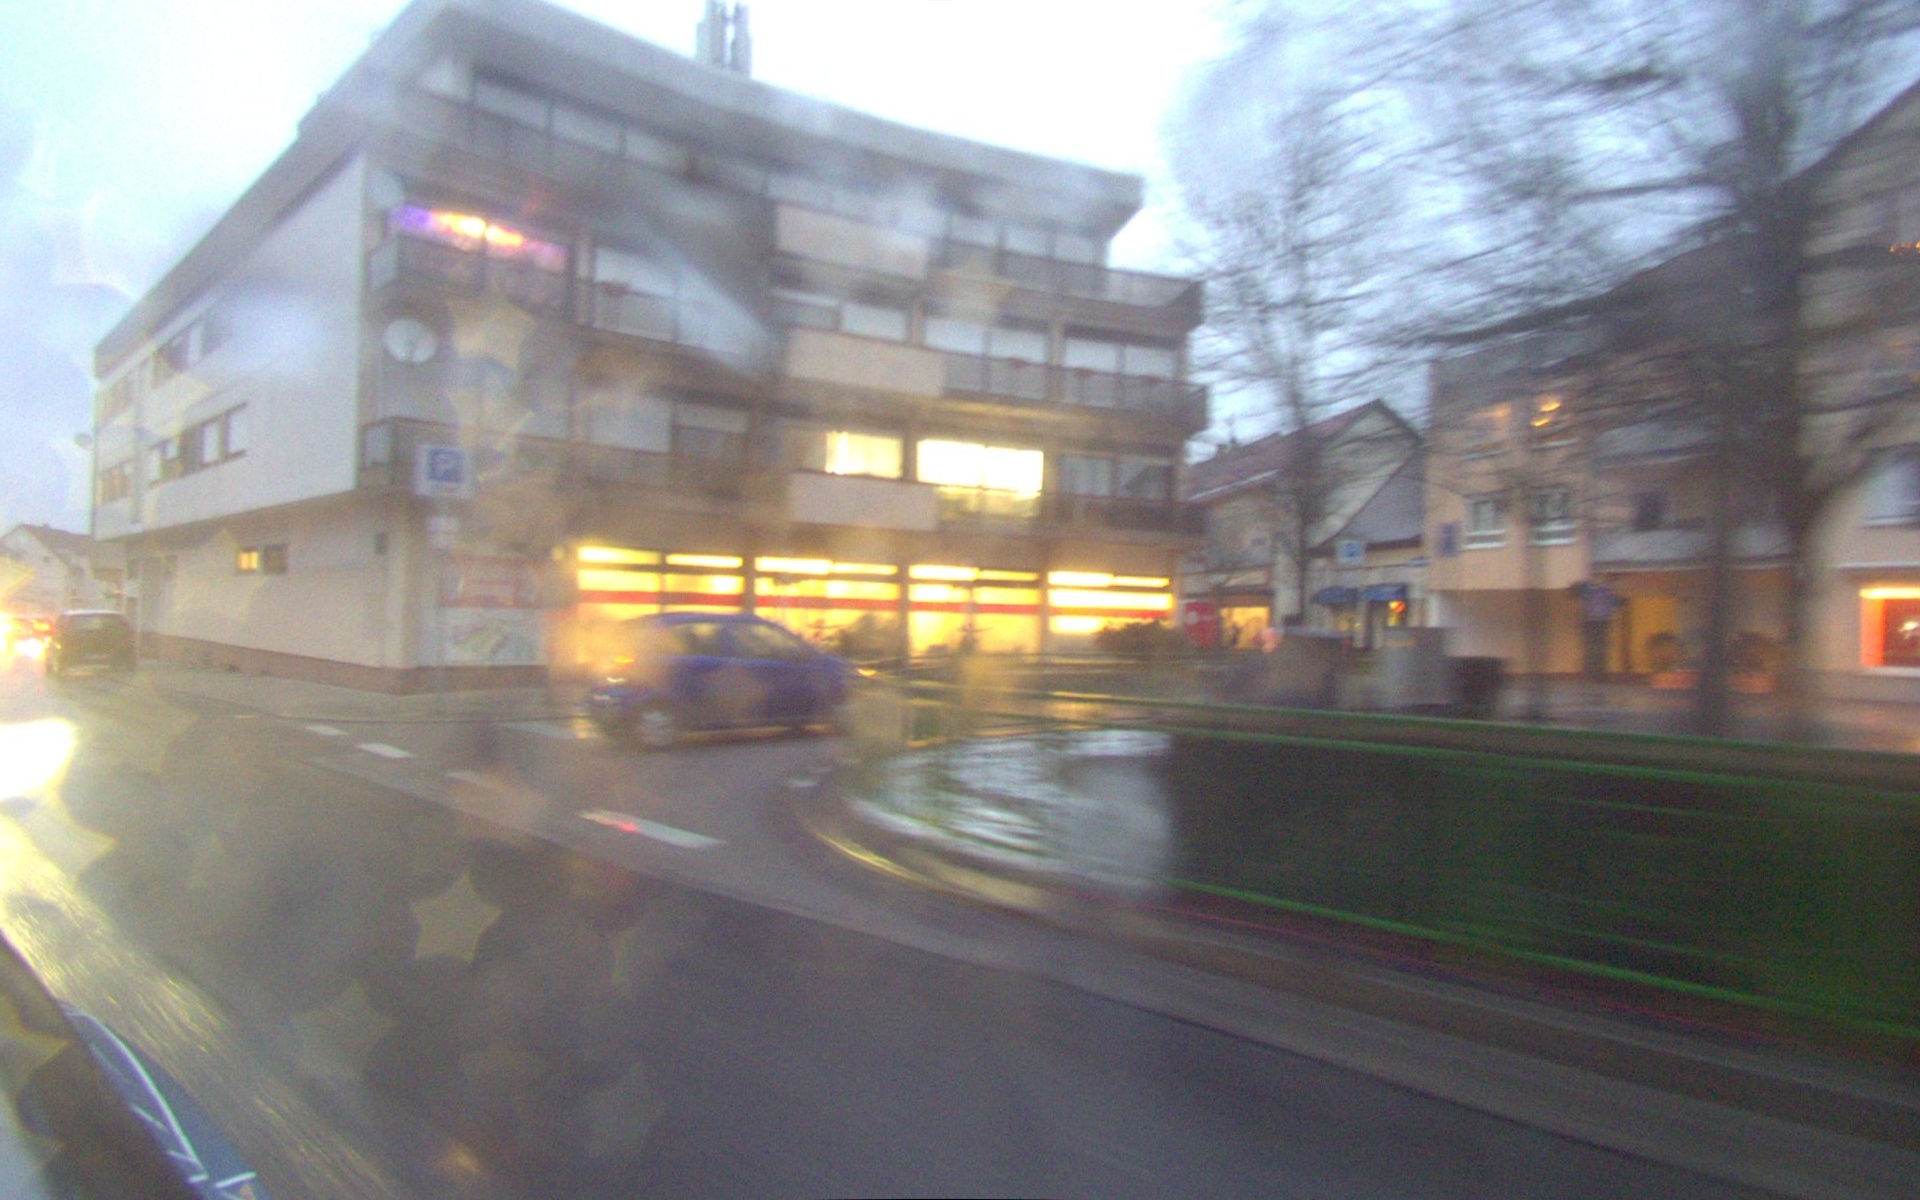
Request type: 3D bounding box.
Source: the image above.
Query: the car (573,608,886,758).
[{"bbox_3d":[-2.655,0.864,11.873,3.256,1.519,1.505,0,-1,-36],"label":"car"}]

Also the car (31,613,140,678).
[{"bbox_3d":[-23.709,1.170,27.394,3.827,1.629,1.874,-1,-1,44],"label":"car"}]

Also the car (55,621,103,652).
[{"bbox_3d":[-43.607,1.781,50.122,1.752,1.460,3.832,0,-1,-41],"label":"car"}]

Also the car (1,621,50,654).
[{"bbox_3d":[-49.670,1.952,53.839,1.865,1.692,4.005,0,-1,-42],"label":"car"}]

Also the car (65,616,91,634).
[{"bbox_3d":[-99.861,2.829,114.628,1.808,2.029,3.709,0,-1,-35],"label":"car"}]

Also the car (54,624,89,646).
[{"bbox_3d":[-62.167,2.442,70.860,1.751,1.460,3.833,0,-1,-40],"label":"car"}]

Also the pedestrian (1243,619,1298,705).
[{"bbox_3d":[4.997,0.983,16.281,0.611,1.349,0.569,0,-1,-35],"label":"pedestrian"}]

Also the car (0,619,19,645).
[{"bbox_3d":[-63.372,2.103,66.492,1.894,1.630,3.876,0,-1,-38],"label":"car"}]
